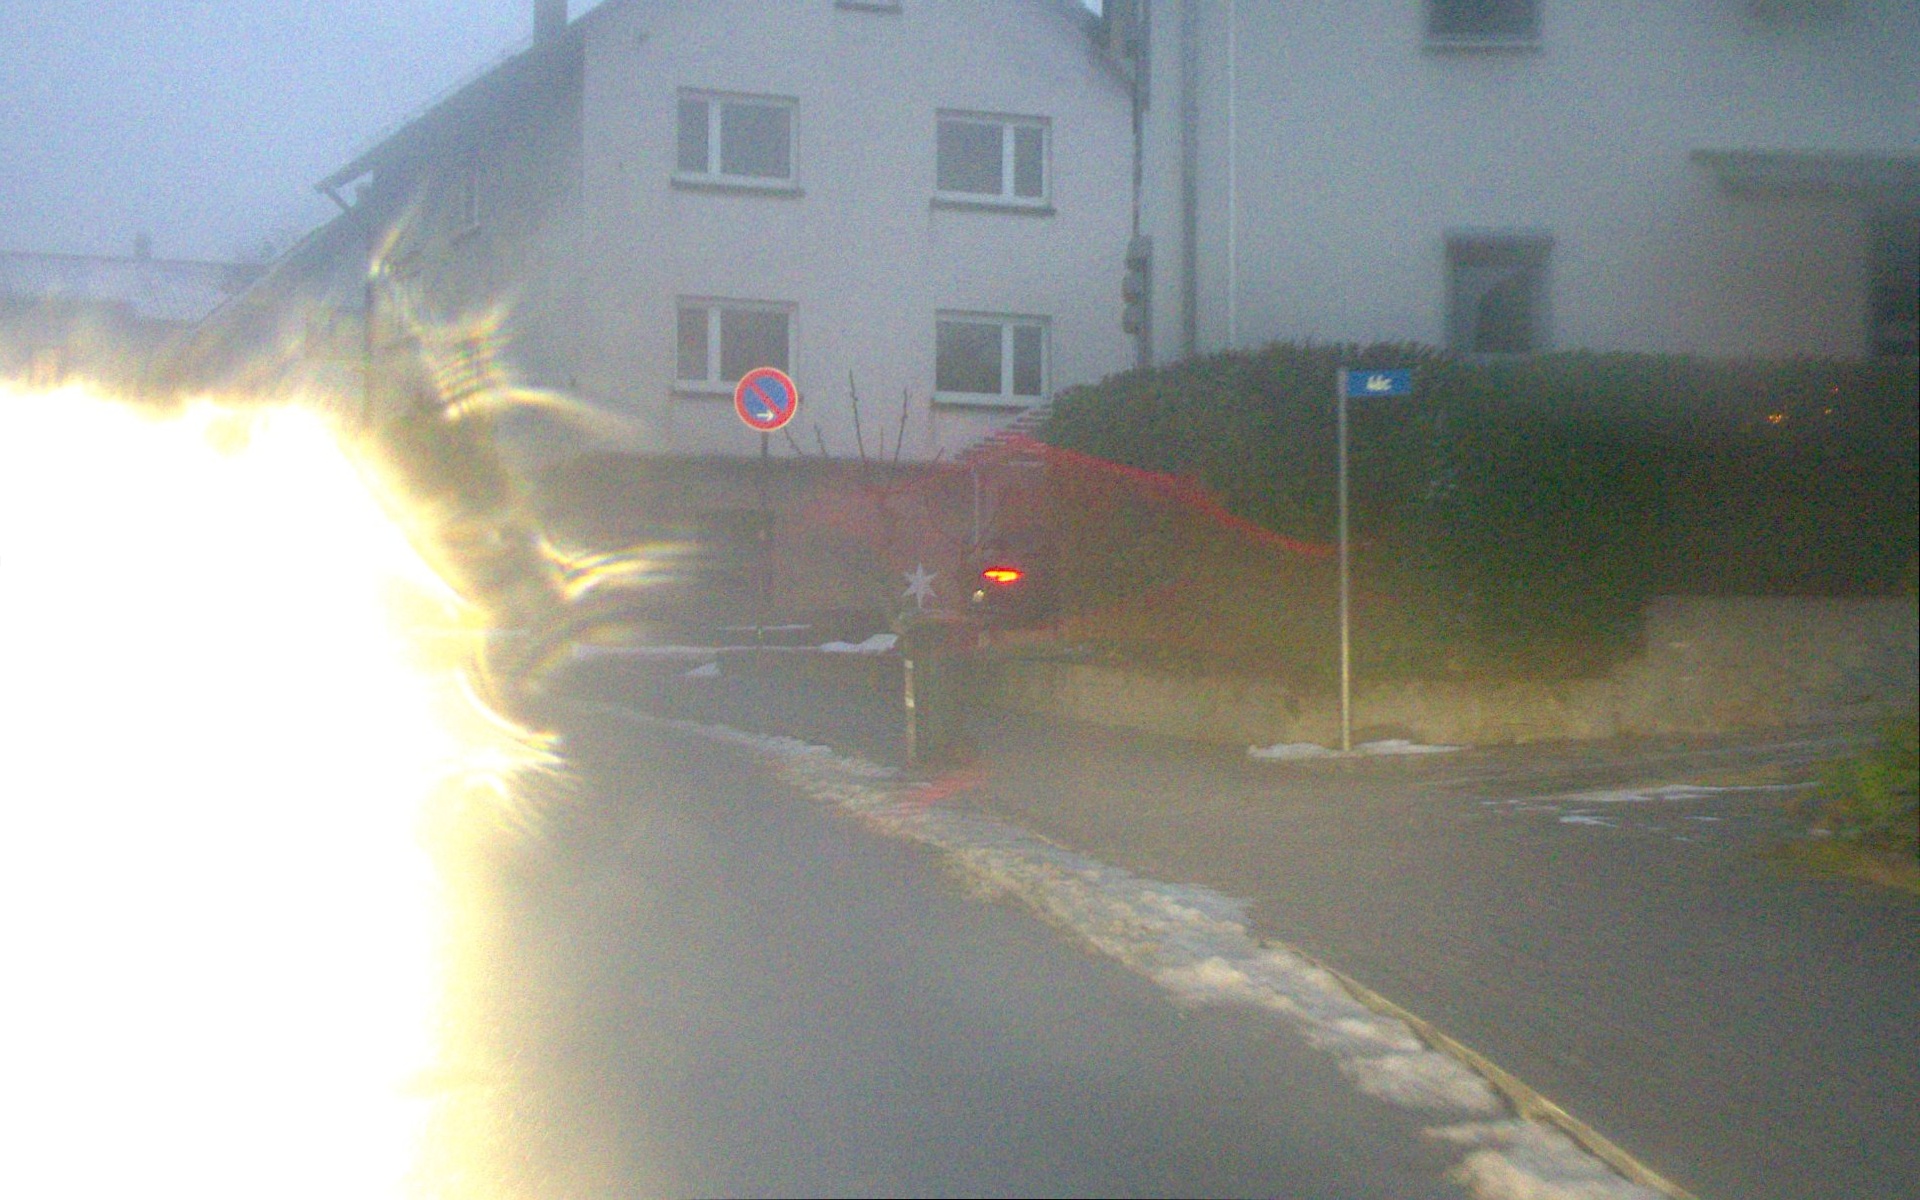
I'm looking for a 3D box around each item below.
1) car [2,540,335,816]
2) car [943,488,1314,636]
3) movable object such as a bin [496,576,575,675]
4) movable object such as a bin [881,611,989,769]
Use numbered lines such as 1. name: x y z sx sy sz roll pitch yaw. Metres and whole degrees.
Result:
1. car: -6.263 0.535 27.753 2.110 2.020 4.984 0 1 -7
2. car: 2.008 -0.468 41.494 3.985 1.612 2.001 2 2 -16
3. movable object such as a bin: -4.059 0.240 32.854 0.637 0.914 0.686 1 1 -16
4. movable object such as a bin: -0.156 0.547 21.100 0.537 0.935 0.689 1 1 -10
